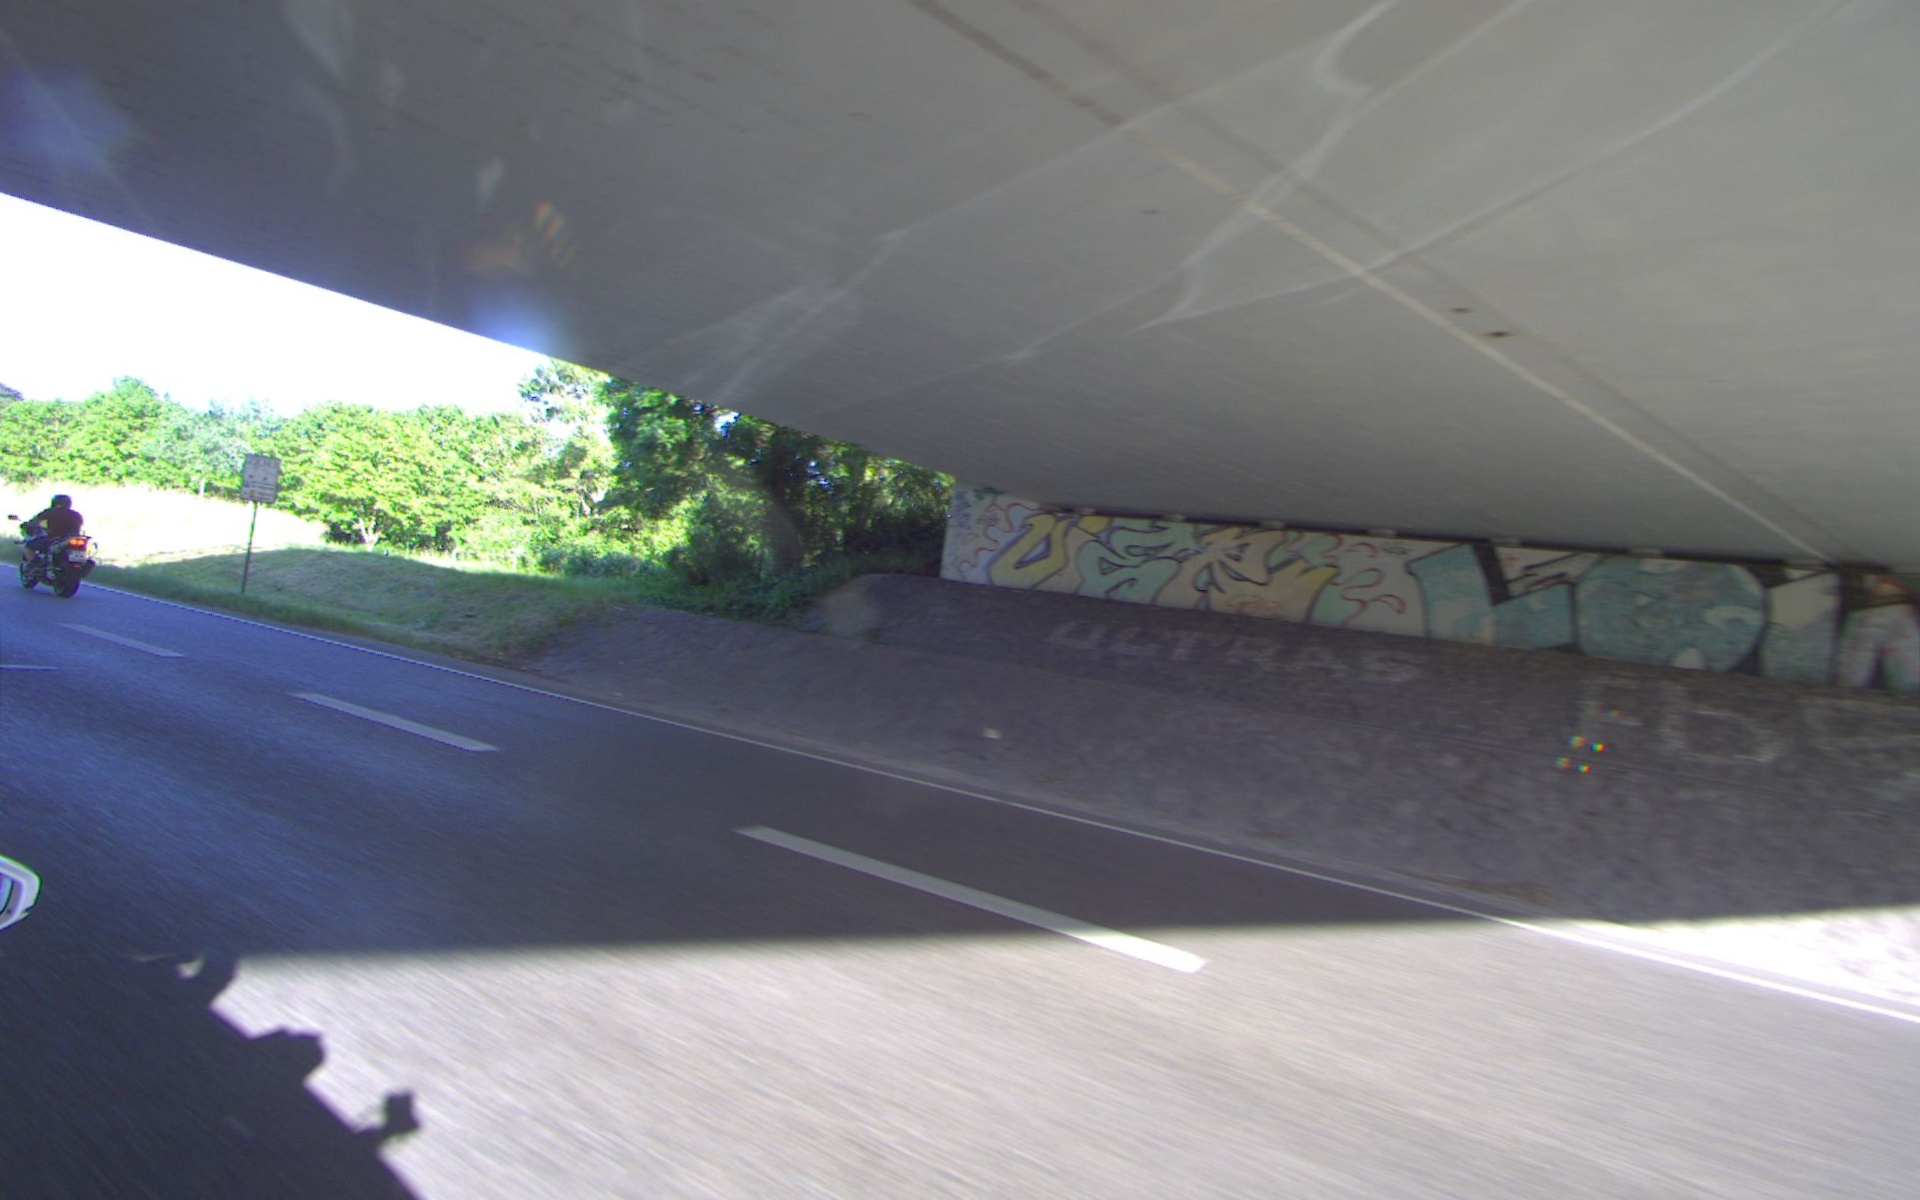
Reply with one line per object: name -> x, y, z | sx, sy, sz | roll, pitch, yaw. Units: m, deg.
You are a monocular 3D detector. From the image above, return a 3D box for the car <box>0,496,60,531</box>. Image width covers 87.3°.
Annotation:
car -> -56.692, -5.275, 59.896 | 1.890, 1.576, 4.125 | 4, -4, 25

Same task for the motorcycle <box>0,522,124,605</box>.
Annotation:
motorcycle -> -15.132, -0.629, 16.776 | 2.788, 1.082, 0.818 | 7, -1, 30

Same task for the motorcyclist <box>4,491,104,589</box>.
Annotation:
motorcyclist -> -15.129, -0.997, 16.807 | 1.075, 1.464, 0.818 | 7, -1, 30
